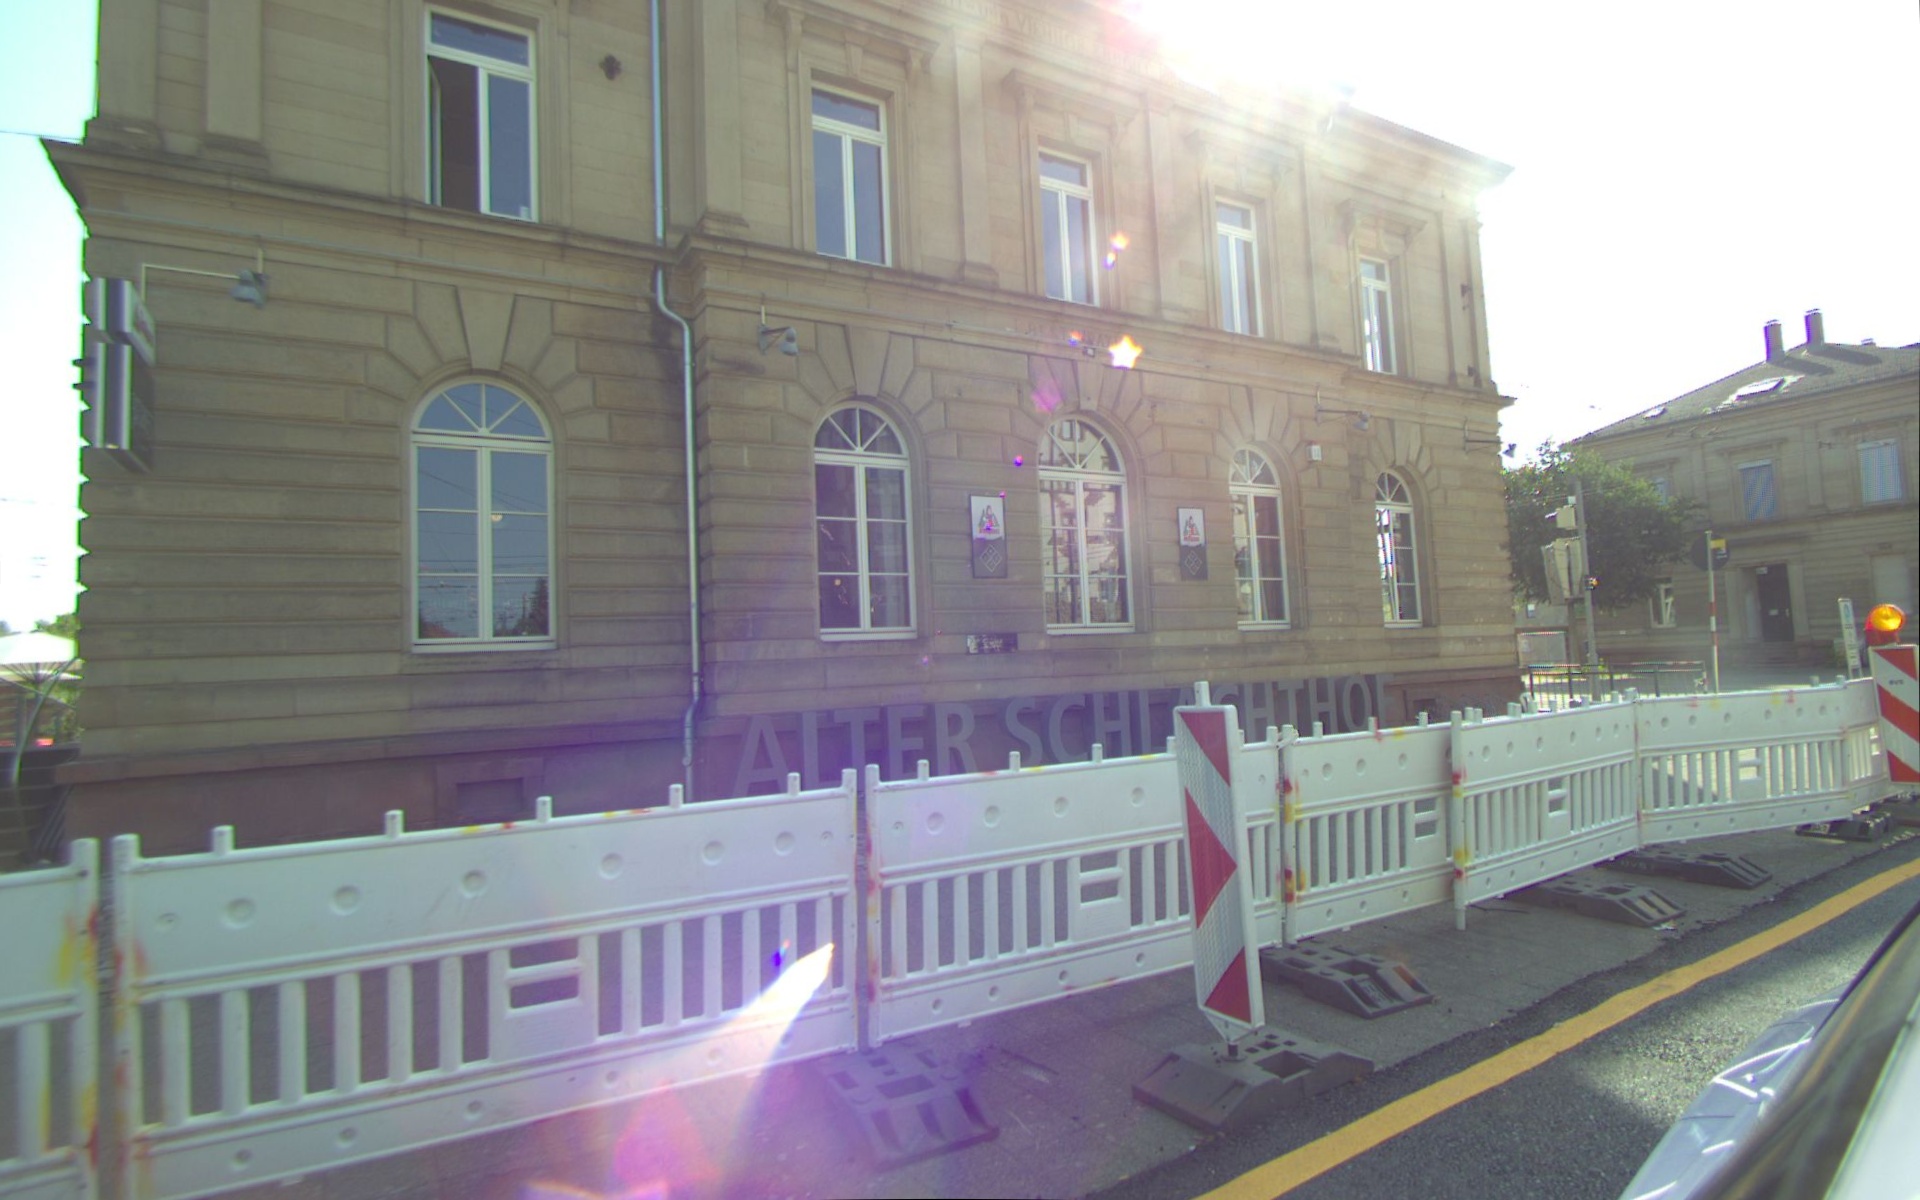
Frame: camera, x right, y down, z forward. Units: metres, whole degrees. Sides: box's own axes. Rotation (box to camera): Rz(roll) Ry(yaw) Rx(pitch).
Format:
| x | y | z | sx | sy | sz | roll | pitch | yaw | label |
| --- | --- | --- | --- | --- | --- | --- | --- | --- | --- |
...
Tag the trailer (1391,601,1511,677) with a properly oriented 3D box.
| x | y | z | sx | sy | sz | roll | pitch | yaw | label |
| --- | --- | --- | --- | --- | --- | --- | --- | --- | --- |
| 22.230 | 1.788 | 45.901 | 2.511 | 3.109 | 3.993 | -1 | -4 | -39 | trailer |
